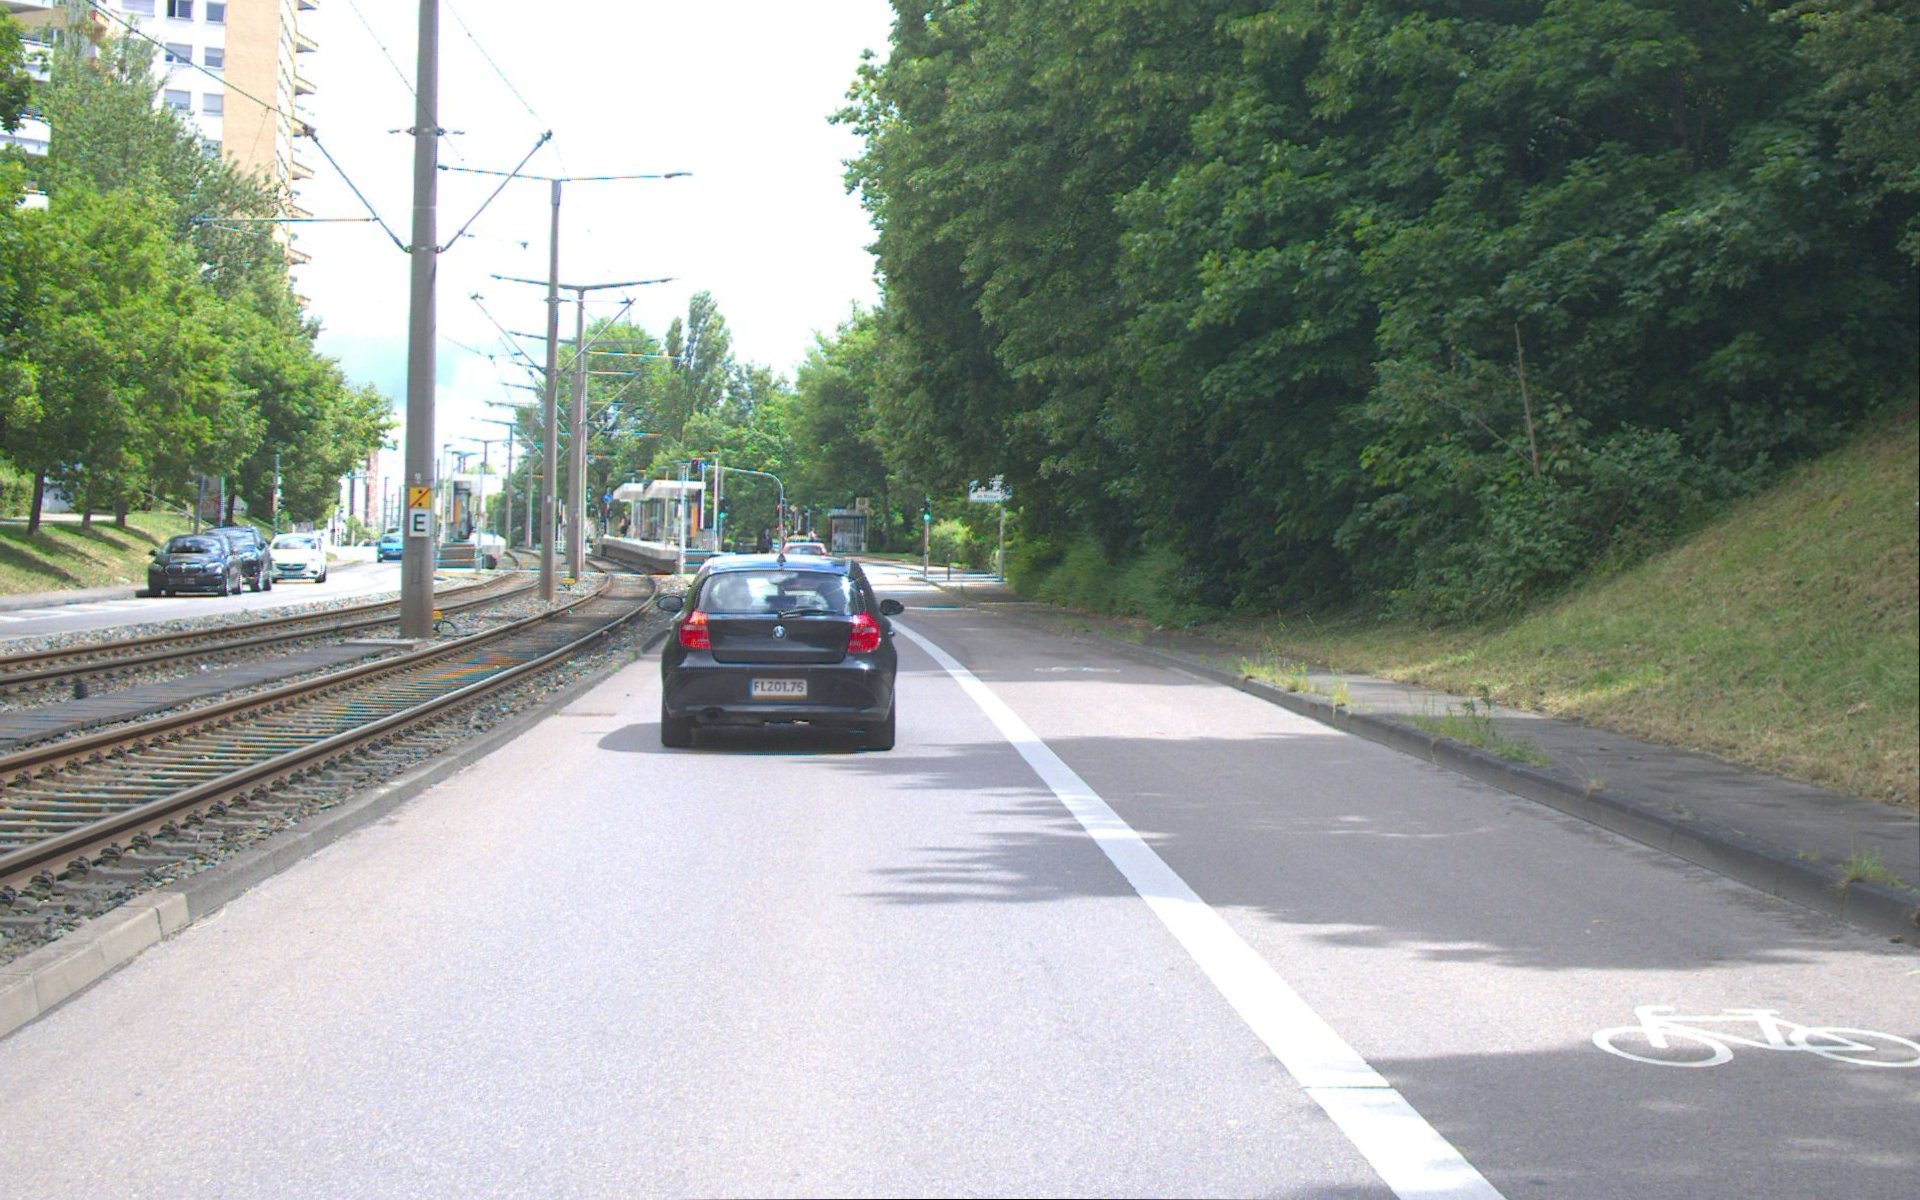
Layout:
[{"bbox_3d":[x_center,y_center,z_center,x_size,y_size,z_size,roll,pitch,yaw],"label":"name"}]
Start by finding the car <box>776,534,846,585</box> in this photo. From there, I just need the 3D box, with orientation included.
[{"bbox_3d":[-4.402,-1.198,101.224,1.781,1.454,3.922,1,1,-6],"label":"car"}]

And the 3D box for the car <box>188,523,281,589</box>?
[{"bbox_3d":[-18.231,-1.087,86.532,1.774,1.624,4.383,0,0,-5],"label":"car"}]

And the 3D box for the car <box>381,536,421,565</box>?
[{"bbox_3d":[-28.327,-2.513,174.256,1.715,1.437,3.944,1,1,-13],"label":"car"}]

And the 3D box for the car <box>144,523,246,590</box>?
[{"bbox_3d":[-17.743,-1.014,79.874,1.774,1.493,3.998,1,1,-5],"label":"car"}]

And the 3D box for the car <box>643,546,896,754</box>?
[{"bbox_3d":[-1.489,0.318,26.137,1.781,1.454,3.922,0,1,-4],"label":"car"}]

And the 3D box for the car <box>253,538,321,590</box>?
[{"bbox_3d":[-20.242,-1.098,103.556,1.781,1.527,4.245,0,1,-8],"label":"car"}]
